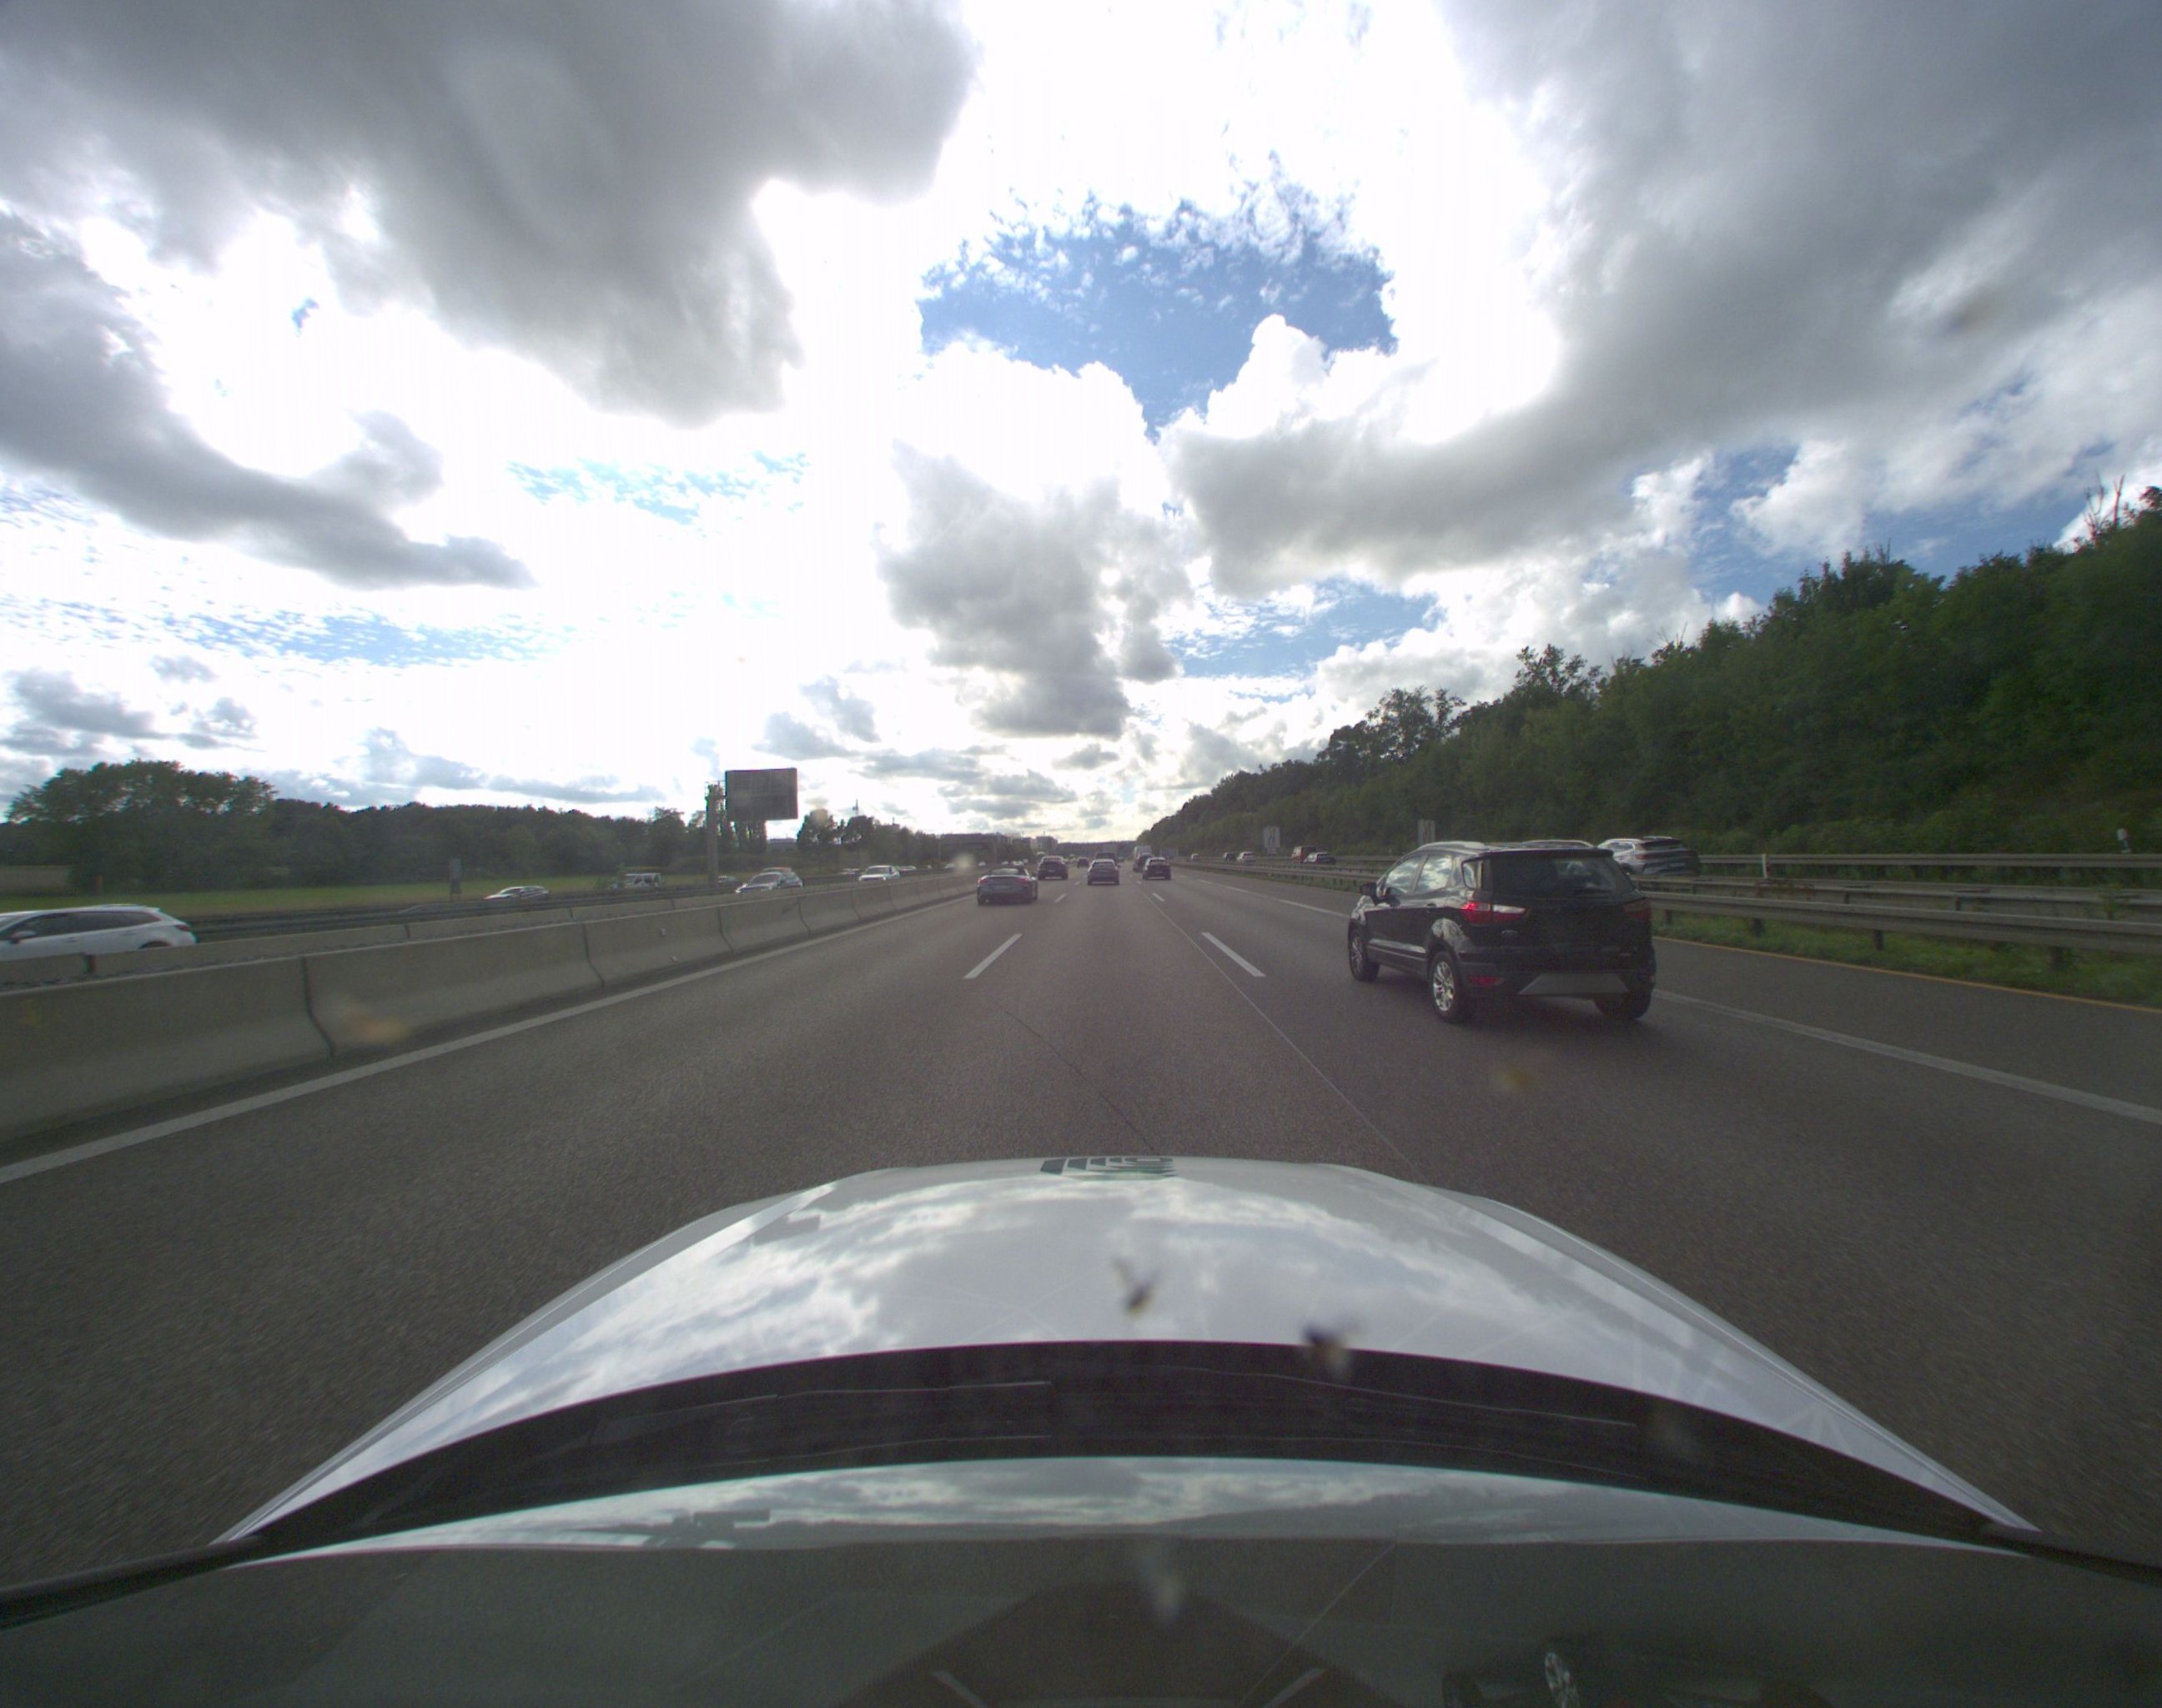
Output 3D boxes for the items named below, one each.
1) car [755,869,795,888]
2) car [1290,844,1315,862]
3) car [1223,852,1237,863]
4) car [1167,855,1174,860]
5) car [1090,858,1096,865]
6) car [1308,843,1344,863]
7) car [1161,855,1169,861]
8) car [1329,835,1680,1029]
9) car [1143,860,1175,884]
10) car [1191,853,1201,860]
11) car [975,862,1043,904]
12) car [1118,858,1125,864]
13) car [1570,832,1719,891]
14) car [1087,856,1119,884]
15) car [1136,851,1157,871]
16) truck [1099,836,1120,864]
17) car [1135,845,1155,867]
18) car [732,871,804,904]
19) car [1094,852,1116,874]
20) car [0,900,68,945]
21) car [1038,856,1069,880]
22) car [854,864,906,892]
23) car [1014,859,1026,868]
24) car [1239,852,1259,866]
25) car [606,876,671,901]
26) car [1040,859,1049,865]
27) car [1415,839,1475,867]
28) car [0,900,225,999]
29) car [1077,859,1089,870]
[{"bbox_3d":[-31.001,2.436,82.563,1.986,1.700,5.137,-1,0,1],"label":"car"},{"bbox_3d":[23.215,-0.050,85.491,1.590,1.804,3.825,-1,0,0],"label":"car"},{"bbox_3d":[25.044,0.624,136.967,1.745,1.695,4.192,-1,0,2],"label":"car"},{"bbox_3d":[28.370,0.975,258.259,1.746,1.517,4.190,-1,0,1],"label":"car"},{"bbox_3d":[3.671,2.302,249.011,1.986,1.816,4.568,-1,-1,2],"label":"car"},{"bbox_3d":[19.681,-0.075,65.604,1.590,1.546,4.190,-1,0,0],"label":"car"},{"bbox_3d":[24.534,1.092,237.743,1.722,1.533,4.454,-2,0,2],"label":"car"},{"bbox_3d":[4.115,0.652,8.779,1.691,1.564,4.114,-1,0,1],"label":"car"},{"bbox_3d":[5.190,1.174,54.657,1.825,1.521,4.226,-1,0,2],"label":"car"},{"bbox_3d":[26.926,0.609,190.800,1.746,1.517,4.190,-1,0,1],"label":"car"},{"bbox_3d":[-2.484,0.985,29.276,1.866,1.302,4.944,-1,0,2],"label":"car"},{"bbox_3d":[10.499,1.814,212.866,1.745,1.695,4.192,-1,0,2],"label":"car"},{"bbox_3d":[17.990,0.226,26.277,1.840,1.650,4.308,-3,0,2],"label":"car"},{"bbox_3d":[1.275,0.874,46.359,1.714,1.479,4.393,-1,0,2],"label":"car"},{"bbox_3d":[6.466,0.656,80.710,1.906,1.919,4.032,-1,0,2],"label":"car"},{"bbox_3d":[4.741,-0.597,135.640,3.250,4.375,11.030,0,0,2],"label":"truck"},{"bbox_3d":[6.860,0.200,87.875,1.866,2.357,4.283,-1,0,2],"label":"car"},{"bbox_3d":[-14.906,1.572,39.014,1.631,1.403,4.492,-1,0,1],"label":"car"},{"bbox_3d":[1.979,0.722,66.370,1.714,1.724,4.393,-1,0,2],"label":"car"},{"bbox_3d":[-40.139,2.544,29.225,1.722,1.534,4.609,-1,0,1],"label":"car"},{"bbox_3d":[-1.935,0.959,58.813,1.905,1.636,5.502,-1,0,2],"label":"car"},{"bbox_3d":[-12.000,1.389,48.837,1.756,1.532,4.719,-1,0,2],"label":"car"},{"bbox_3d":[-11.290,1.682,150.211,1.772,1.645,4.073,-1,0,1],"label":"car"},{"bbox_3d":[21.112,0.623,102.420,1.745,1.695,4.192,-1,0,2],"label":"car"},{"bbox_3d":[-34.852,2.705,64.395,1.986,1.700,5.635,-1,0,1],"label":"car"},{"bbox_3d":[-11.305,2.369,252.849,2.299,1.777,5.063,-1,0,0],"label":"car"},{"bbox_3d":[22.381,-0.065,50.192,1.723,1.546,4.305,-3,0,0],"label":"car"},{"bbox_3d":[-19.737,1.791,15.484,1.720,1.529,4.865,-1,0,1],"label":"car"},{"bbox_3d":[0.331,1.699,128.333,1.866,1.698,4.073,-1,0,2],"label":"car"}]
